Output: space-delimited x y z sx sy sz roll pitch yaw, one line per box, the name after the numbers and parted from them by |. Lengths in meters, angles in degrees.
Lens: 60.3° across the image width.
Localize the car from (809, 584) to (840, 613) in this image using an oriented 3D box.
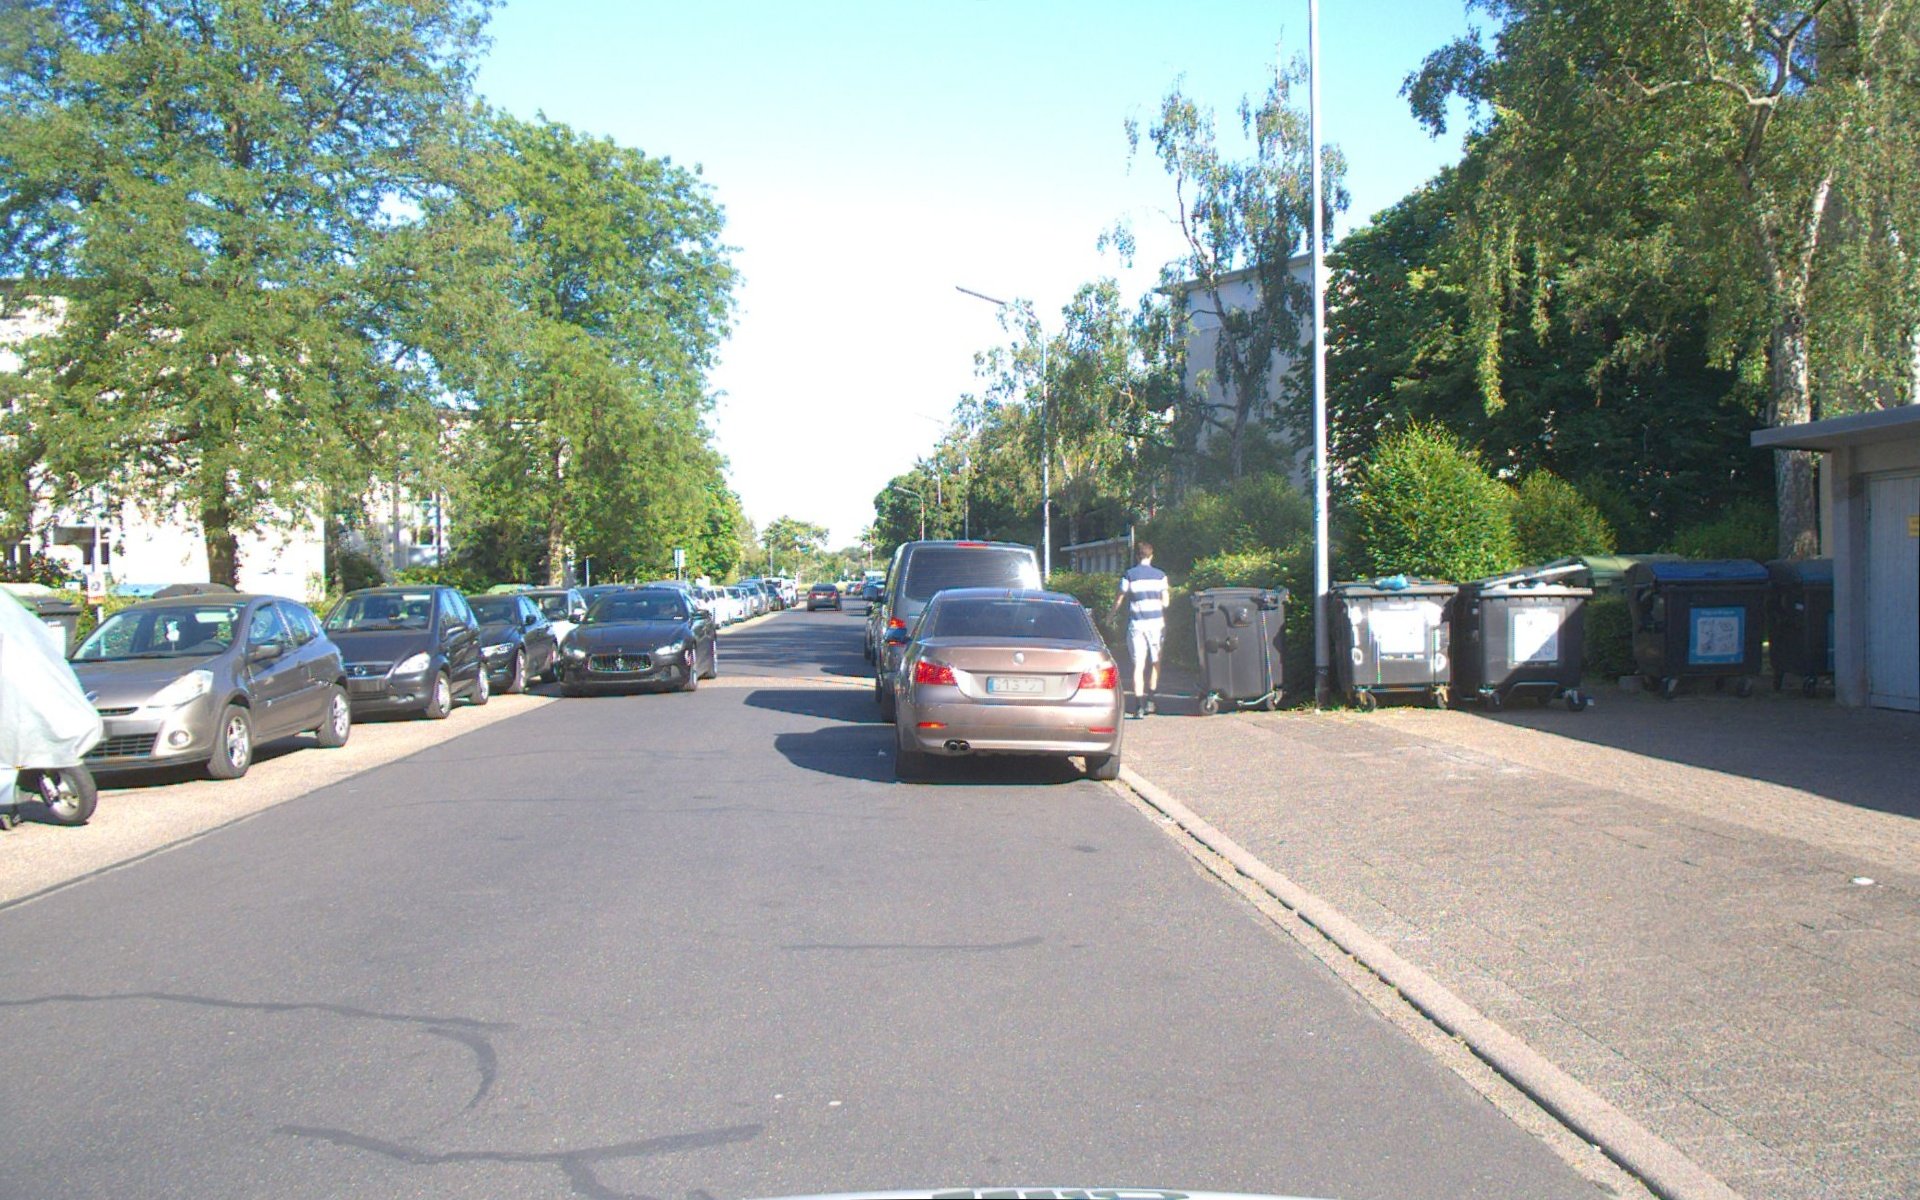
-7.487 -0.122 91.123 1.647 1.540 4.099 1 0 -6 | car

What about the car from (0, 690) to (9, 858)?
-6.179 0.800 7.222 1.720 1.445 4.266 -3 1 -4 | car

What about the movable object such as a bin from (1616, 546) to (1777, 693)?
8.058 0.191 18.163 1.250 1.491 1.133 -1 4 0 | movable object such as a bin

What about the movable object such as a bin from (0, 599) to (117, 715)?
-11.352 0.684 20.481 1.154 1.363 1.343 0 1 -2 | movable object such as a bin

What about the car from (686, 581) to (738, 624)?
-9.696 0.083 64.813 1.653 1.561 3.888 -2 1 -4 | car

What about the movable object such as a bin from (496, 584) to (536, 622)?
-17.535 0.105 65.359 1.154 1.445 1.462 2 0 -2 | movable object such as a bin

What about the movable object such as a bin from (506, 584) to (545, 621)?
-17.561 0.100 66.879 1.154 1.445 1.462 2 0 -2 | movable object such as a bin

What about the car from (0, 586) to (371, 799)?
-6.677 0.685 14.406 1.719 1.506 3.958 -3 1 -2 | car

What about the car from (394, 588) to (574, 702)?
-7.255 0.616 25.651 1.720 1.506 4.533 -3 1 -5 | car

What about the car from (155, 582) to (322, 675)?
-12.758 0.457 29.485 1.540 1.552 3.996 0 0 -5 | car

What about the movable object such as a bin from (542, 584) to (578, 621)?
-16.331 0.096 67.540 1.111 1.445 1.360 2 0 -2 | movable object such as a bin

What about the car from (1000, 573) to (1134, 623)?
3.664 -0.095 57.025 4.423 1.540 1.828 -2 1 -3 | car

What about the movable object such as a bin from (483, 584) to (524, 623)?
-17.569 0.117 63.655 1.154 1.445 1.462 2 0 -2 | movable object such as a bin

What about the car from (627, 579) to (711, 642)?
-8.376 0.259 47.906 1.865 1.668 4.346 -2 1 -4 | car

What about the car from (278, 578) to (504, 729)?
-6.935 0.586 20.555 1.720 1.601 3.716 -3 1 -5 | car

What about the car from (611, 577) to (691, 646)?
-7.924 0.265 42.667 1.603 1.634 3.532 -2 1 -4 | car

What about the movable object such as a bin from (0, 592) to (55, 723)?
-11.202 0.635 18.763 1.154 1.432 1.342 0 1 -3 | movable object such as a bin

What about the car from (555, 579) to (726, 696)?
-4.589 0.470 24.400 1.873 1.502 4.567 -2 1 -4 | car

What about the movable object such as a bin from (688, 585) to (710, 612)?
-14.591 -0.088 92.540 1.079 1.445 1.360 2 0 -3 | movable object such as a bin

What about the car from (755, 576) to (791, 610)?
-11.557 -0.471 102.647 1.877 1.996 5.084 -2 1 -3 | car

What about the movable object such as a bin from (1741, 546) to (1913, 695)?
9.363 0.198 17.921 1.250 1.491 1.133 -1 4 0 | movable object such as a bin

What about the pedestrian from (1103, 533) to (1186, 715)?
2.028 0.252 18.273 0.689 1.921 0.872 -3 0 -3 | pedestrian

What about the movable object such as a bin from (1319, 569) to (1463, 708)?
4.504 0.389 17.385 1.198 1.389 1.133 -1 0 0 | movable object such as a bin

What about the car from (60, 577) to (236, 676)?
-14.719 0.432 30.207 1.540 1.669 3.996 0 0 -5 | car

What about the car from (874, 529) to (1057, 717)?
-0.056 0.221 19.761 1.816 1.968 4.701 1 0 -4 | car

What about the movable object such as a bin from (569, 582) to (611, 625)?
-12.553 0.101 56.160 1.113 1.407 1.441 2 0 -2 | movable object such as a bin

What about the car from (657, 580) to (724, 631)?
-8.715 0.155 53.651 1.629 1.539 3.944 -2 1 -2 | car

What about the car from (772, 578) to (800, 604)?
-12.235 -0.624 116.358 1.712 1.762 4.003 -2 1 -4 | car

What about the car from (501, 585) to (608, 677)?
-7.721 0.550 31.734 1.416 1.601 3.139 -3 1 -5 | car

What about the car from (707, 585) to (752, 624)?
-9.794 0.166 70.482 1.654 1.532 3.814 -2 1 -5 | car

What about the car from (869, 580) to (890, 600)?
-7.636 -0.935 156.060 1.761 1.818 3.947 0 0 -6 | car

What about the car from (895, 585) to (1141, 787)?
0.343 0.595 14.195 1.765 1.443 4.634 0 0 -2 | car

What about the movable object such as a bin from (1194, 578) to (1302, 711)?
3.147 0.466 18.212 1.004 1.332 1.388 -4 0 7 | movable object such as a bin

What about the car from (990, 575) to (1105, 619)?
3.427 -0.135 65.229 4.327 1.540 1.828 -2 1 -3 | car

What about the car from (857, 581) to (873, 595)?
-11.230 -1.395 194.911 1.761 1.576 3.947 0 0 -6 | car

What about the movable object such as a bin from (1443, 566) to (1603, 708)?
5.787 0.363 17.077 1.250 1.389 1.133 -1 0 0 | movable object such as a bin

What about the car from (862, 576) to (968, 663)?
-0.937 0.329 32.274 1.698 1.516 4.496 -2 1 -6 | car

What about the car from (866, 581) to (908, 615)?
-3.449 -0.114 77.790 1.719 1.540 4.099 1 0 -6 | car

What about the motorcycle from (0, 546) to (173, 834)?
-6.488 0.605 10.733 2.213 1.756 0.931 -3 1 -7 | motorcycle

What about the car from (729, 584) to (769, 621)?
-10.313 0.101 81.068 1.676 1.628 3.982 -3 1 -5 | car

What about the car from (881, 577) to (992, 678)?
-0.452 0.399 27.124 1.591 1.516 4.033 1 0 -4 | car

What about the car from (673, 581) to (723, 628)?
-9.178 0.148 57.802 1.632 1.539 3.530 -2 1 -10 | car

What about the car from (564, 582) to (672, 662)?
-7.702 0.444 37.560 1.719 1.634 3.966 -3 1 -3 | car

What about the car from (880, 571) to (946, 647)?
-1.147 0.193 39.336 1.459 1.748 2.581 1 0 -4 | car
